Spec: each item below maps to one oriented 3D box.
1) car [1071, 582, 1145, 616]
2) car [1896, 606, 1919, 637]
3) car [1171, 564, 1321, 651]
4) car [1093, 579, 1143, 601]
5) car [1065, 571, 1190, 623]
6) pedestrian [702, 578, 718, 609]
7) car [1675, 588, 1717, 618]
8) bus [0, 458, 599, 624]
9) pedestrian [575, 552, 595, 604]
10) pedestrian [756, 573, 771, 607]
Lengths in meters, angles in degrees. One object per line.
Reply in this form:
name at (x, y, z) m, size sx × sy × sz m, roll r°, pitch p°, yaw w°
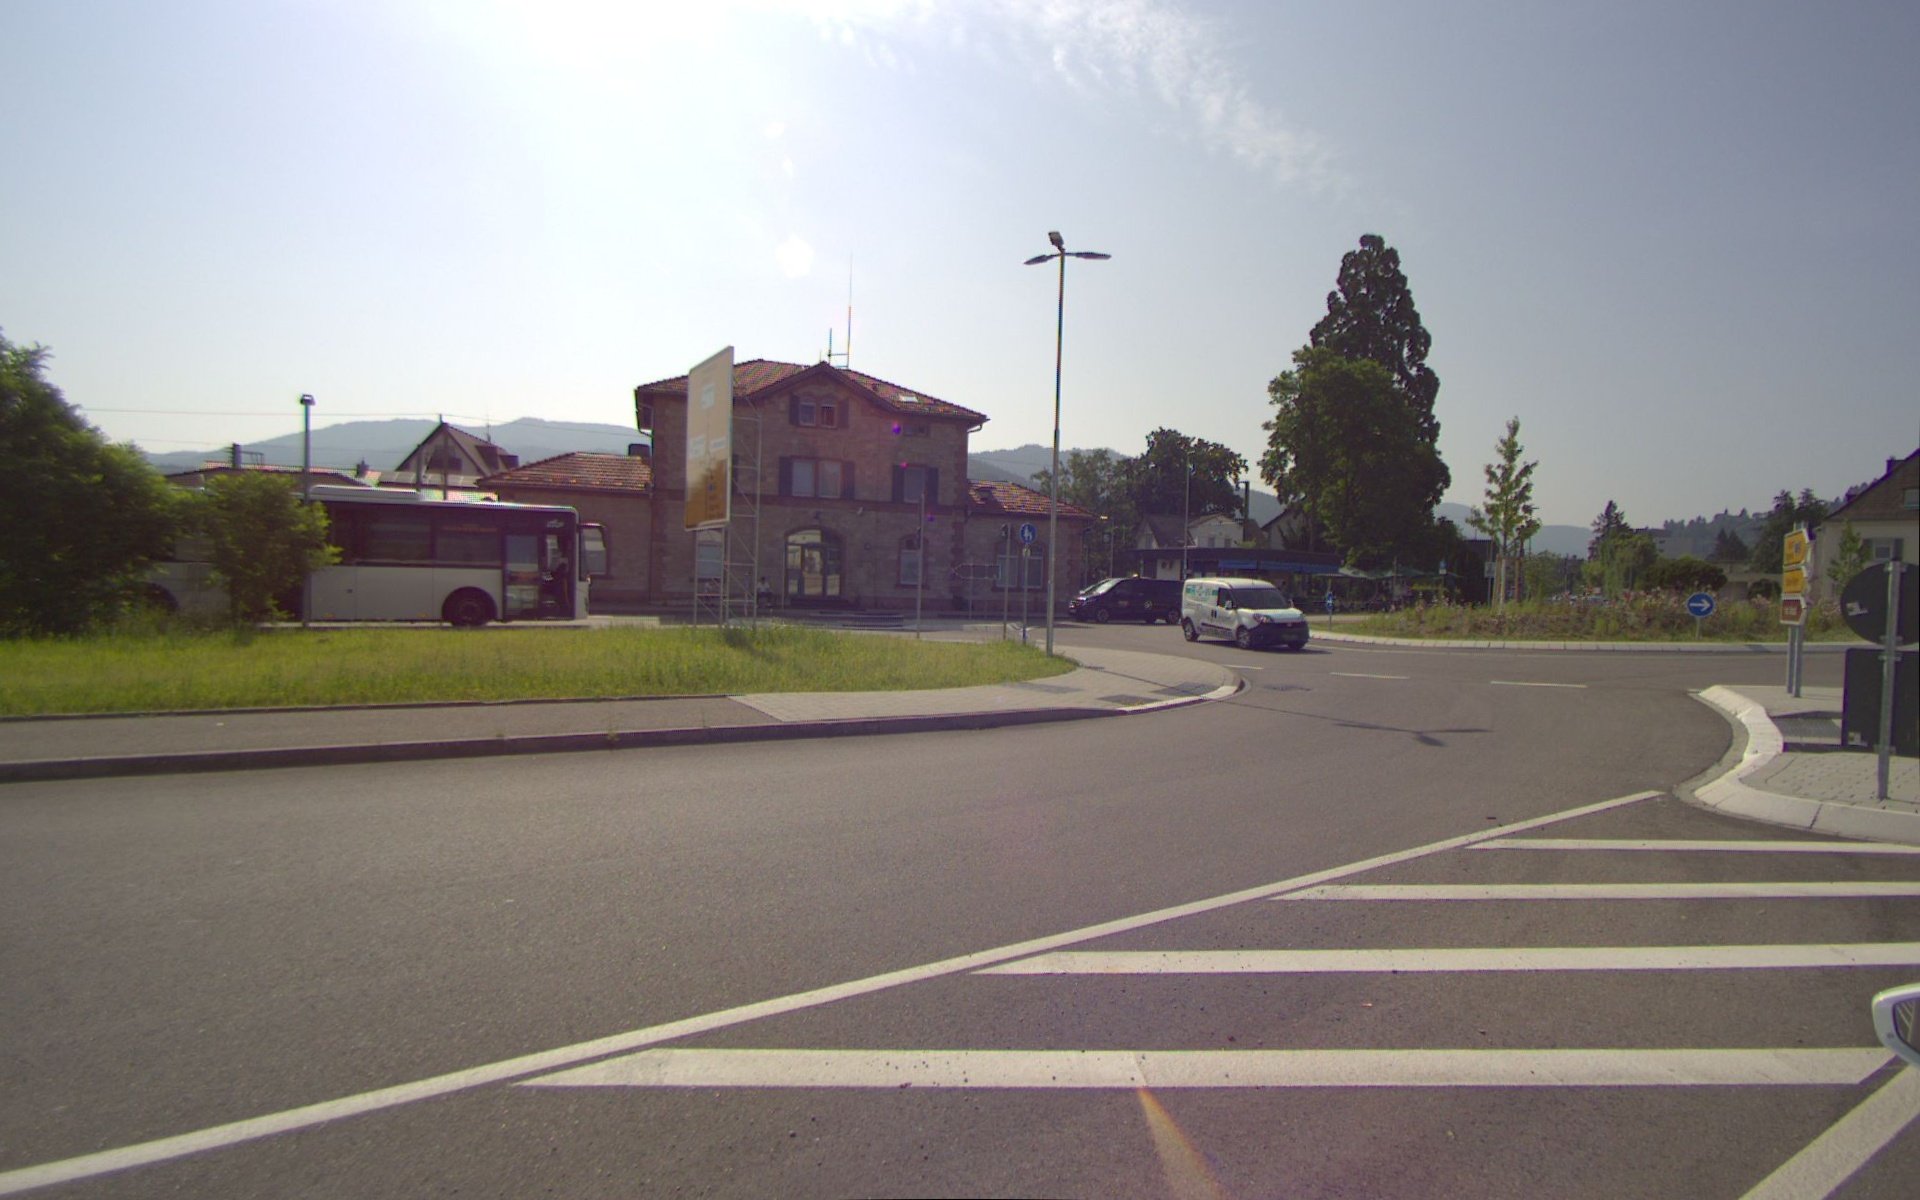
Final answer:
car at (7.539, -0.046, 51.262) m, size 3.487 × 1.469 × 1.385 m, roll 3°, pitch 0°, yaw -23°
car at (67.070, 1.514, 69.017) m, size 3.926 × 2.040 × 1.997 m, roll 2°, pitch 0°, yaw -8°
car at (7.810, 0.106, 27.940) m, size 1.783 × 2.106 × 4.585 m, roll -1°, pitch 3°, yaw -17°
car at (10.262, -0.654, 65.353) m, size 1.398 × 1.344 × 3.571 m, roll 1°, pitch 1°, yaw -26°
car at (6.895, -0.103, 41.342) m, size 4.808 × 1.972 × 1.837 m, roll 2°, pitch 0°, yaw -20°
pedestrian at (-10.174, -0.261, 40.845) m, size 0.576 × 1.220 × 0.440 m, roll 1°, pitch 0°, yaw -22°
car at (52.263, 0.162, 71.311) m, size 1.791 × 2.041 × 3.974 m, roll 2°, pitch 1°, yaw 44°
bus at (-14.605, -1.118, 23.024) m, size 11.578 × 3.165 × 3.051 m, roll 1°, pitch 1°, yaw -29°
pedestrian at (-14.987, -0.876, 40.182) m, size 0.566 × 2.040 × 0.530 m, roll 2°, pitch 0°, yaw -3°
pedestrian at (-8.102, -0.403, 41.398) m, size 0.544 × 1.367 × 0.564 m, roll 1°, pitch 0°, yaw -18°
